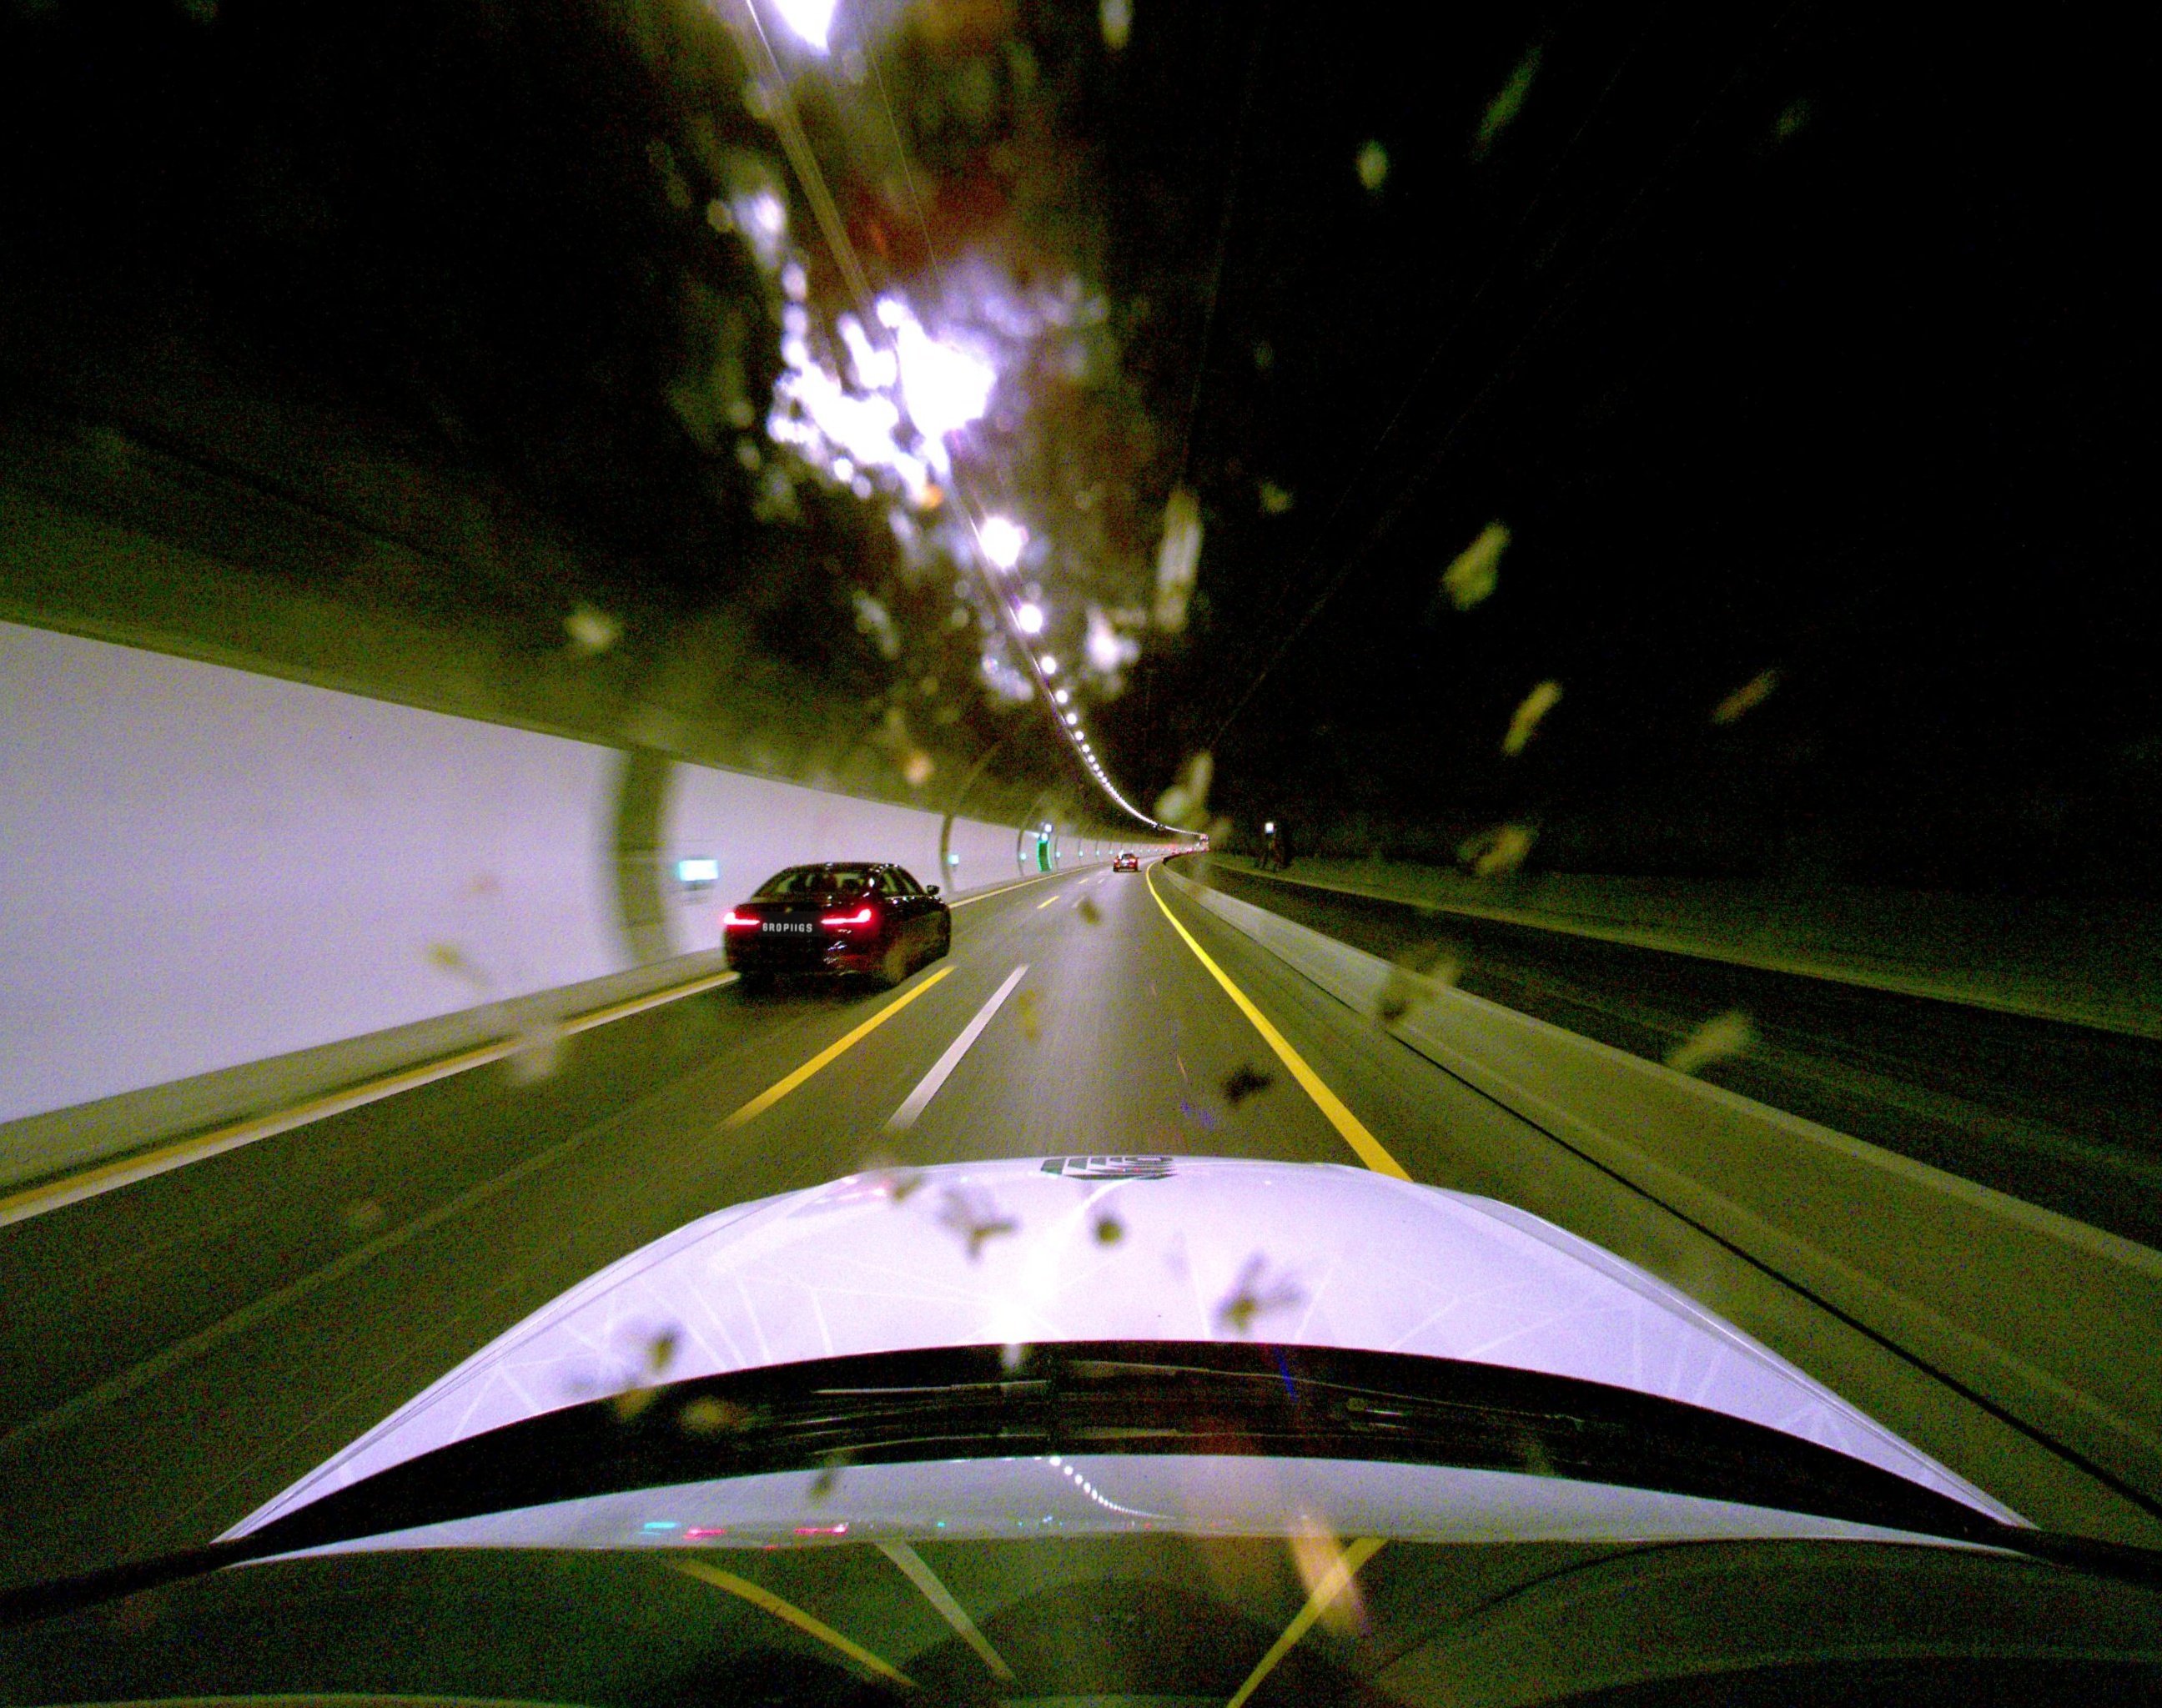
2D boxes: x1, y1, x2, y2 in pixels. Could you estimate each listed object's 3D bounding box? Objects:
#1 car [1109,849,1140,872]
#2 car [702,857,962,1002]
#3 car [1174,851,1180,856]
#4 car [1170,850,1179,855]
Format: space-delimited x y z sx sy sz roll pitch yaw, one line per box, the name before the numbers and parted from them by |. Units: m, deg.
car | 3.398 0.494 63.318 2.130 1.706 4.007 -1 0 6
car | -2.934 0.795 10.869 1.771 1.438 4.886 -1 0 2
car | 26.495 -0.105 225.656 1.586 1.333 3.759 -1 0 8
car | 29.033 -0.569 253.344 2.150 1.486 4.015 -1 0 13
